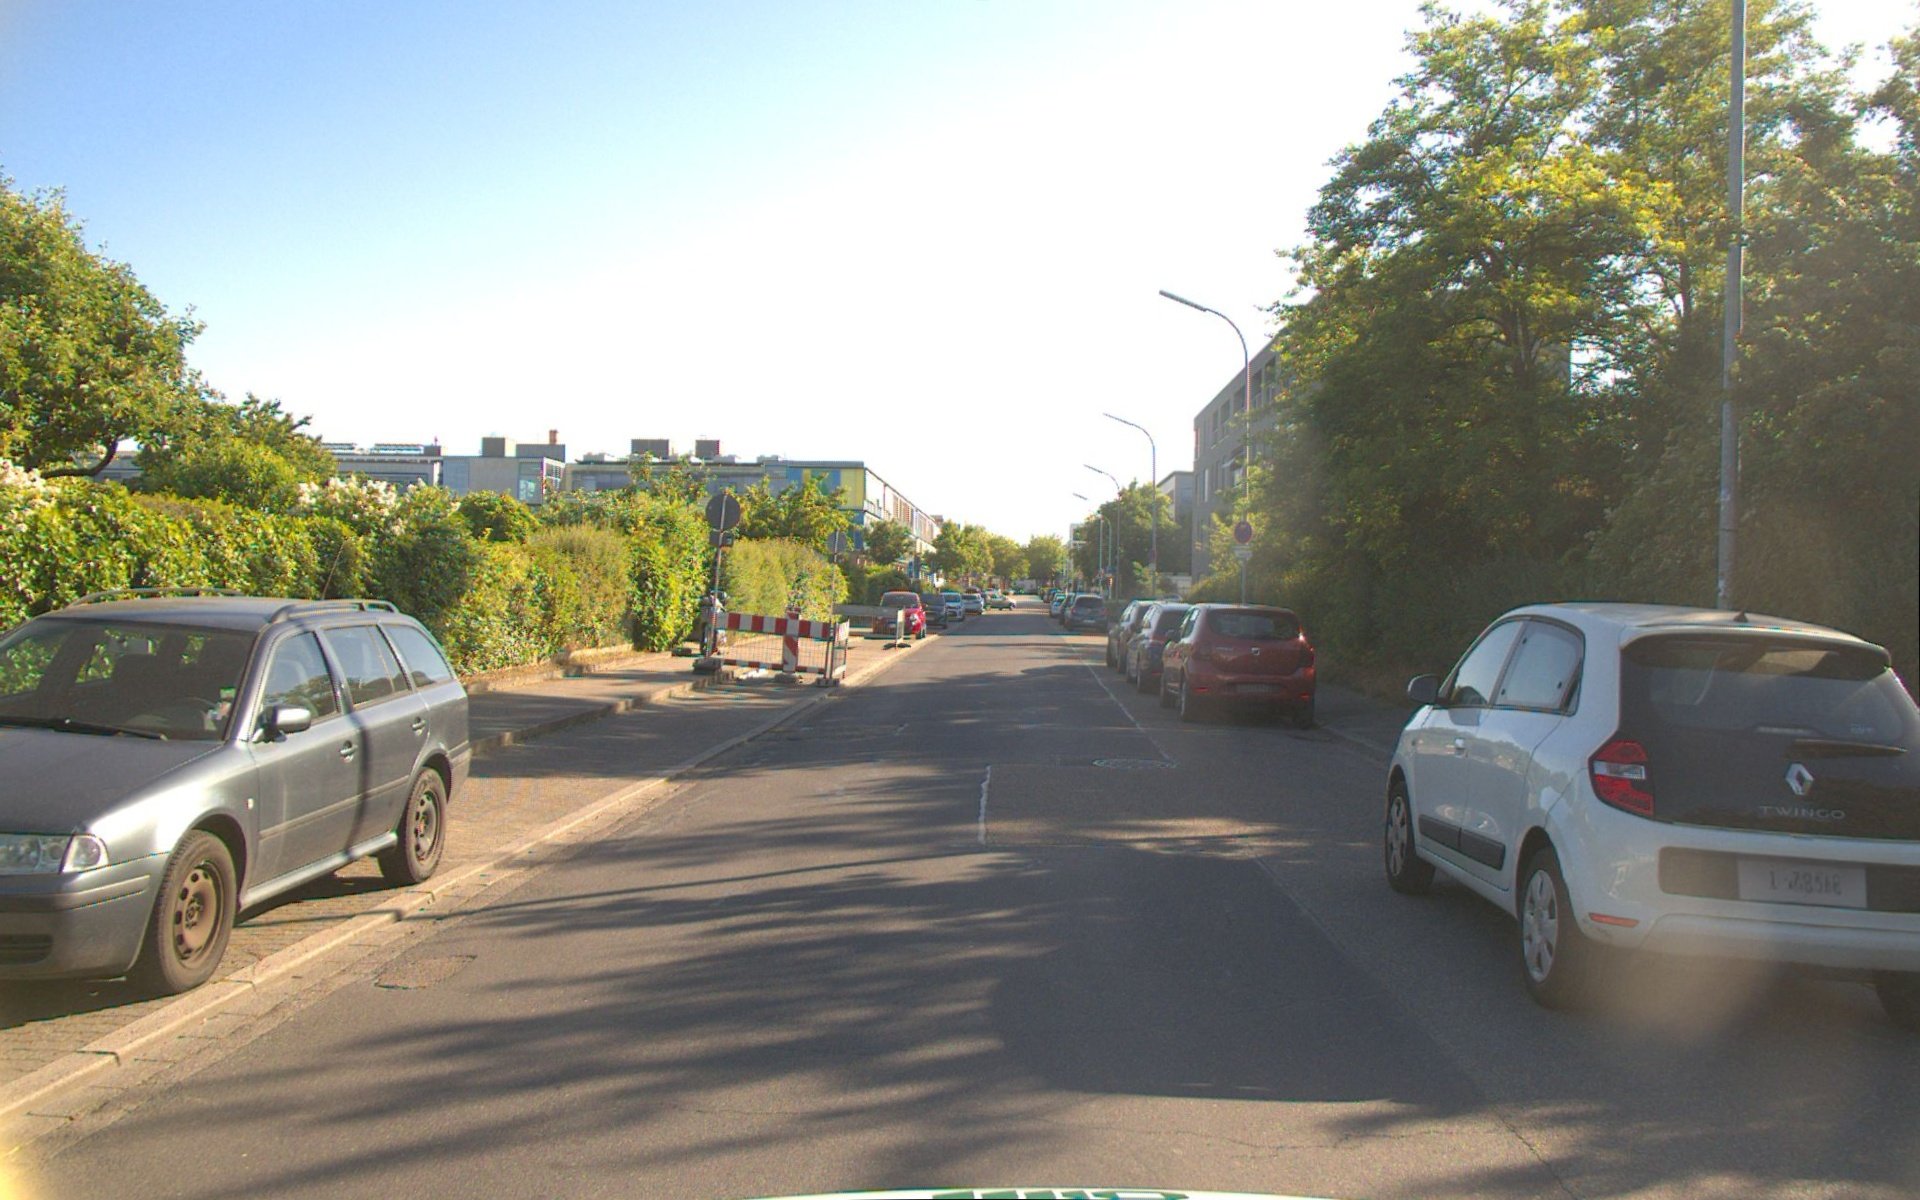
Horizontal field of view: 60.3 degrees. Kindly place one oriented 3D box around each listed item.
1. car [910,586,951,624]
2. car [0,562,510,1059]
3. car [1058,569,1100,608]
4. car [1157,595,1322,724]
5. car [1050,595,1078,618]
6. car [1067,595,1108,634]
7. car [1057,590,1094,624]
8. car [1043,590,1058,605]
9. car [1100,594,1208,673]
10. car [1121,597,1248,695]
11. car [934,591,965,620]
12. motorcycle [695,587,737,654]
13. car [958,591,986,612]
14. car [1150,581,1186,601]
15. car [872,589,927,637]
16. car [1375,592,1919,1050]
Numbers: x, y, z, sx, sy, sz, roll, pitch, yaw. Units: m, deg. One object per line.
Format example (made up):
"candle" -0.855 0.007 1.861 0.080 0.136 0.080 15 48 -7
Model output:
"car" -1.264 0.221 72.661 1.527 1.520 3.571 3 0 2
"car" -3.610 0.666 7.686 1.609 1.583 4.419 3 0 2
"car" 5.430 -0.516 75.797 1.642 1.636 4.179 3 0 1
"car" 3.700 0.735 22.476 1.621 1.512 3.839 3 0 1
"car" 6.858 0.430 109.701 1.706 1.453 4.135 2 0 2
"car" 5.404 0.598 70.499 1.589 1.553 3.903 3 0 3
"car" 5.964 0.354 85.708 1.706 1.653 4.180 2 0 2
"car" 9.866 -0.316 180.475 1.415 1.576 3.615 2 0 1
"car" 3.998 0.644 34.724 1.718 1.438 4.657 3 0 1
"car" 3.789 0.726 28.579 1.621 1.470 4.657 3 0 1
"car" -0.551 0.298 89.697 1.527 1.521 3.759 0 0 2
"motorcycle" -4.943 0.412 33.556 0.555 1.290 2.090 2 0 -2
"car" 0.874 0.092 118.989 1.816 1.453 4.135 2 0 2
"car" 18.599 -0.792 147.885 3.148 1.576 1.451 2 0 5
"car" -1.950 0.407 54.294 1.527 1.521 3.571 0 0 2
"car" 3.105 0.790 7.680 1.523 1.565 3.557 3 0 2
